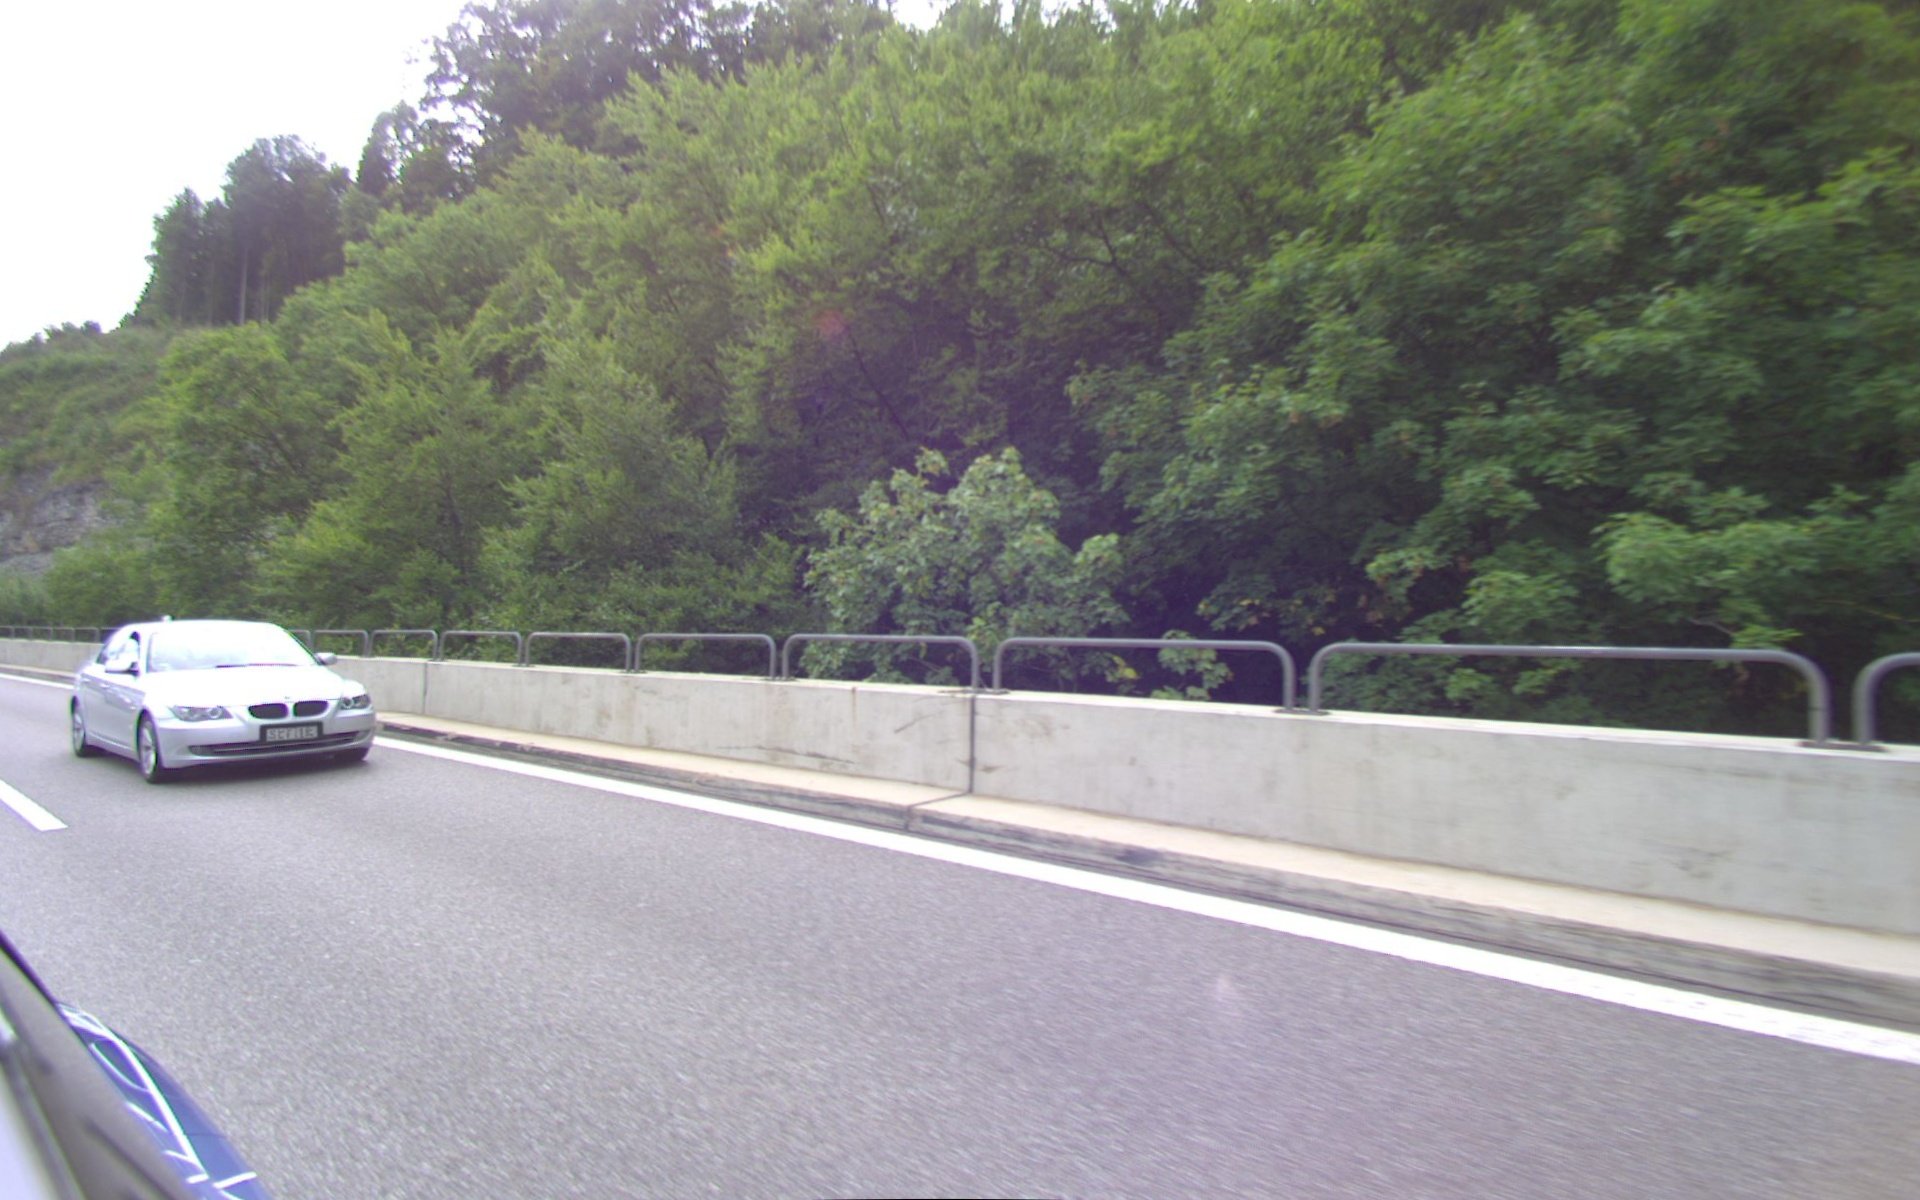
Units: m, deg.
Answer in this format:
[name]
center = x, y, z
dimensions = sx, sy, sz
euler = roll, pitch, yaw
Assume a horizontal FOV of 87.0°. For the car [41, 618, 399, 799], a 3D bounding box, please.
[car]
center = -7.969, 0.954, 10.675
dimensions = 5.129, 1.468, 1.810
euler = -1, -1, 39
